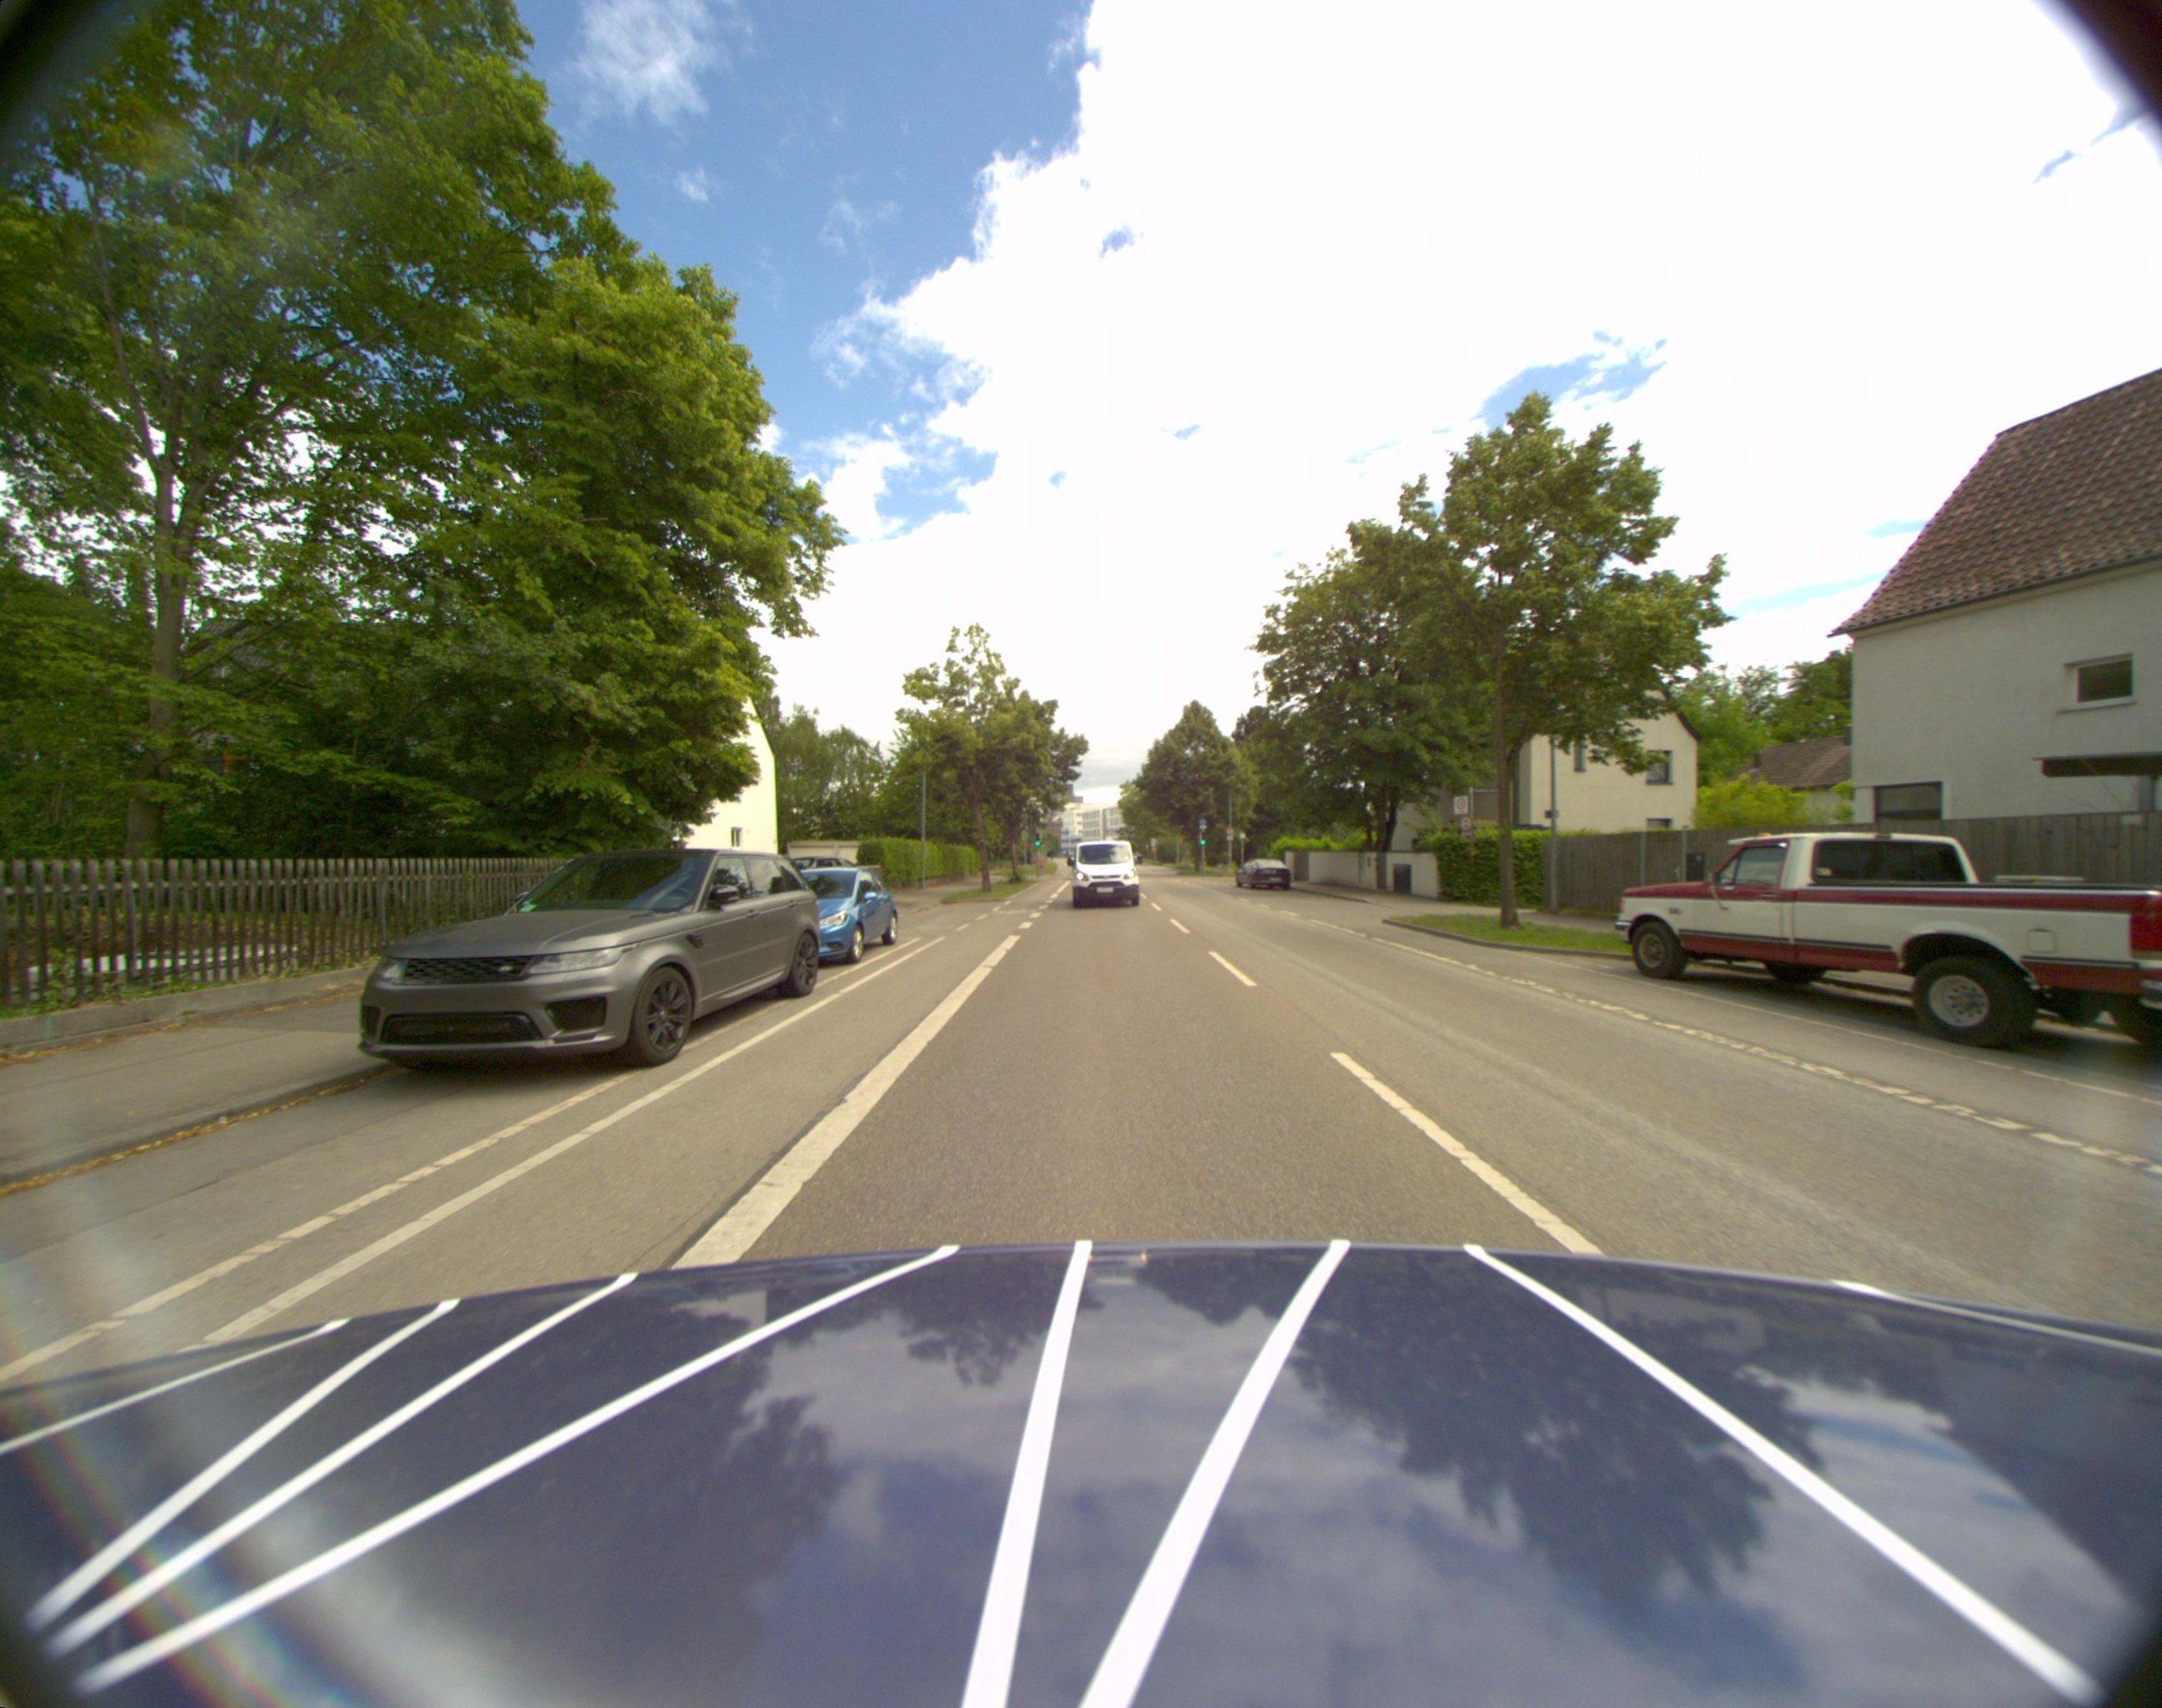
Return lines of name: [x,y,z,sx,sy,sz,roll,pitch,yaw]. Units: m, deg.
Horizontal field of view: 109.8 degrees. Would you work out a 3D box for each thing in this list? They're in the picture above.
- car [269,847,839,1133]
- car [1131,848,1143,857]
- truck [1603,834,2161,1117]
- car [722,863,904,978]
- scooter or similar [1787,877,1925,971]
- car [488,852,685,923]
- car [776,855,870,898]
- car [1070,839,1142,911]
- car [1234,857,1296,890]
car: [-4.162,0.860,7.307,1.998,1.805,4.827,-1,1,1]
car: [9.431,-0.265,127.944,1.786,1.622,3.999,0,0,0]
truck: [8.163,0.806,7.634,1.972,1.857,5.664,1,0,1]
car: [-4.242,0.961,12.697,1.689,1.493,3.920,-1,1,-1]
scooter or similar: [11.273,0.985,11.105,0.637,1.205,1.304,-3,1,-3]
car: [-12.929,0.786,20.055,1.811,1.650,4.008,0,1,42]
car: [-9.952,0.819,29.516,1.647,1.559,3.225,0,0,25]
car: [0.765,0.575,24.231,1.998,2.002,5.188,-2,1,1]
car: [8.692,0.874,36.271,1.750,1.400,4.927,1,0,0]
